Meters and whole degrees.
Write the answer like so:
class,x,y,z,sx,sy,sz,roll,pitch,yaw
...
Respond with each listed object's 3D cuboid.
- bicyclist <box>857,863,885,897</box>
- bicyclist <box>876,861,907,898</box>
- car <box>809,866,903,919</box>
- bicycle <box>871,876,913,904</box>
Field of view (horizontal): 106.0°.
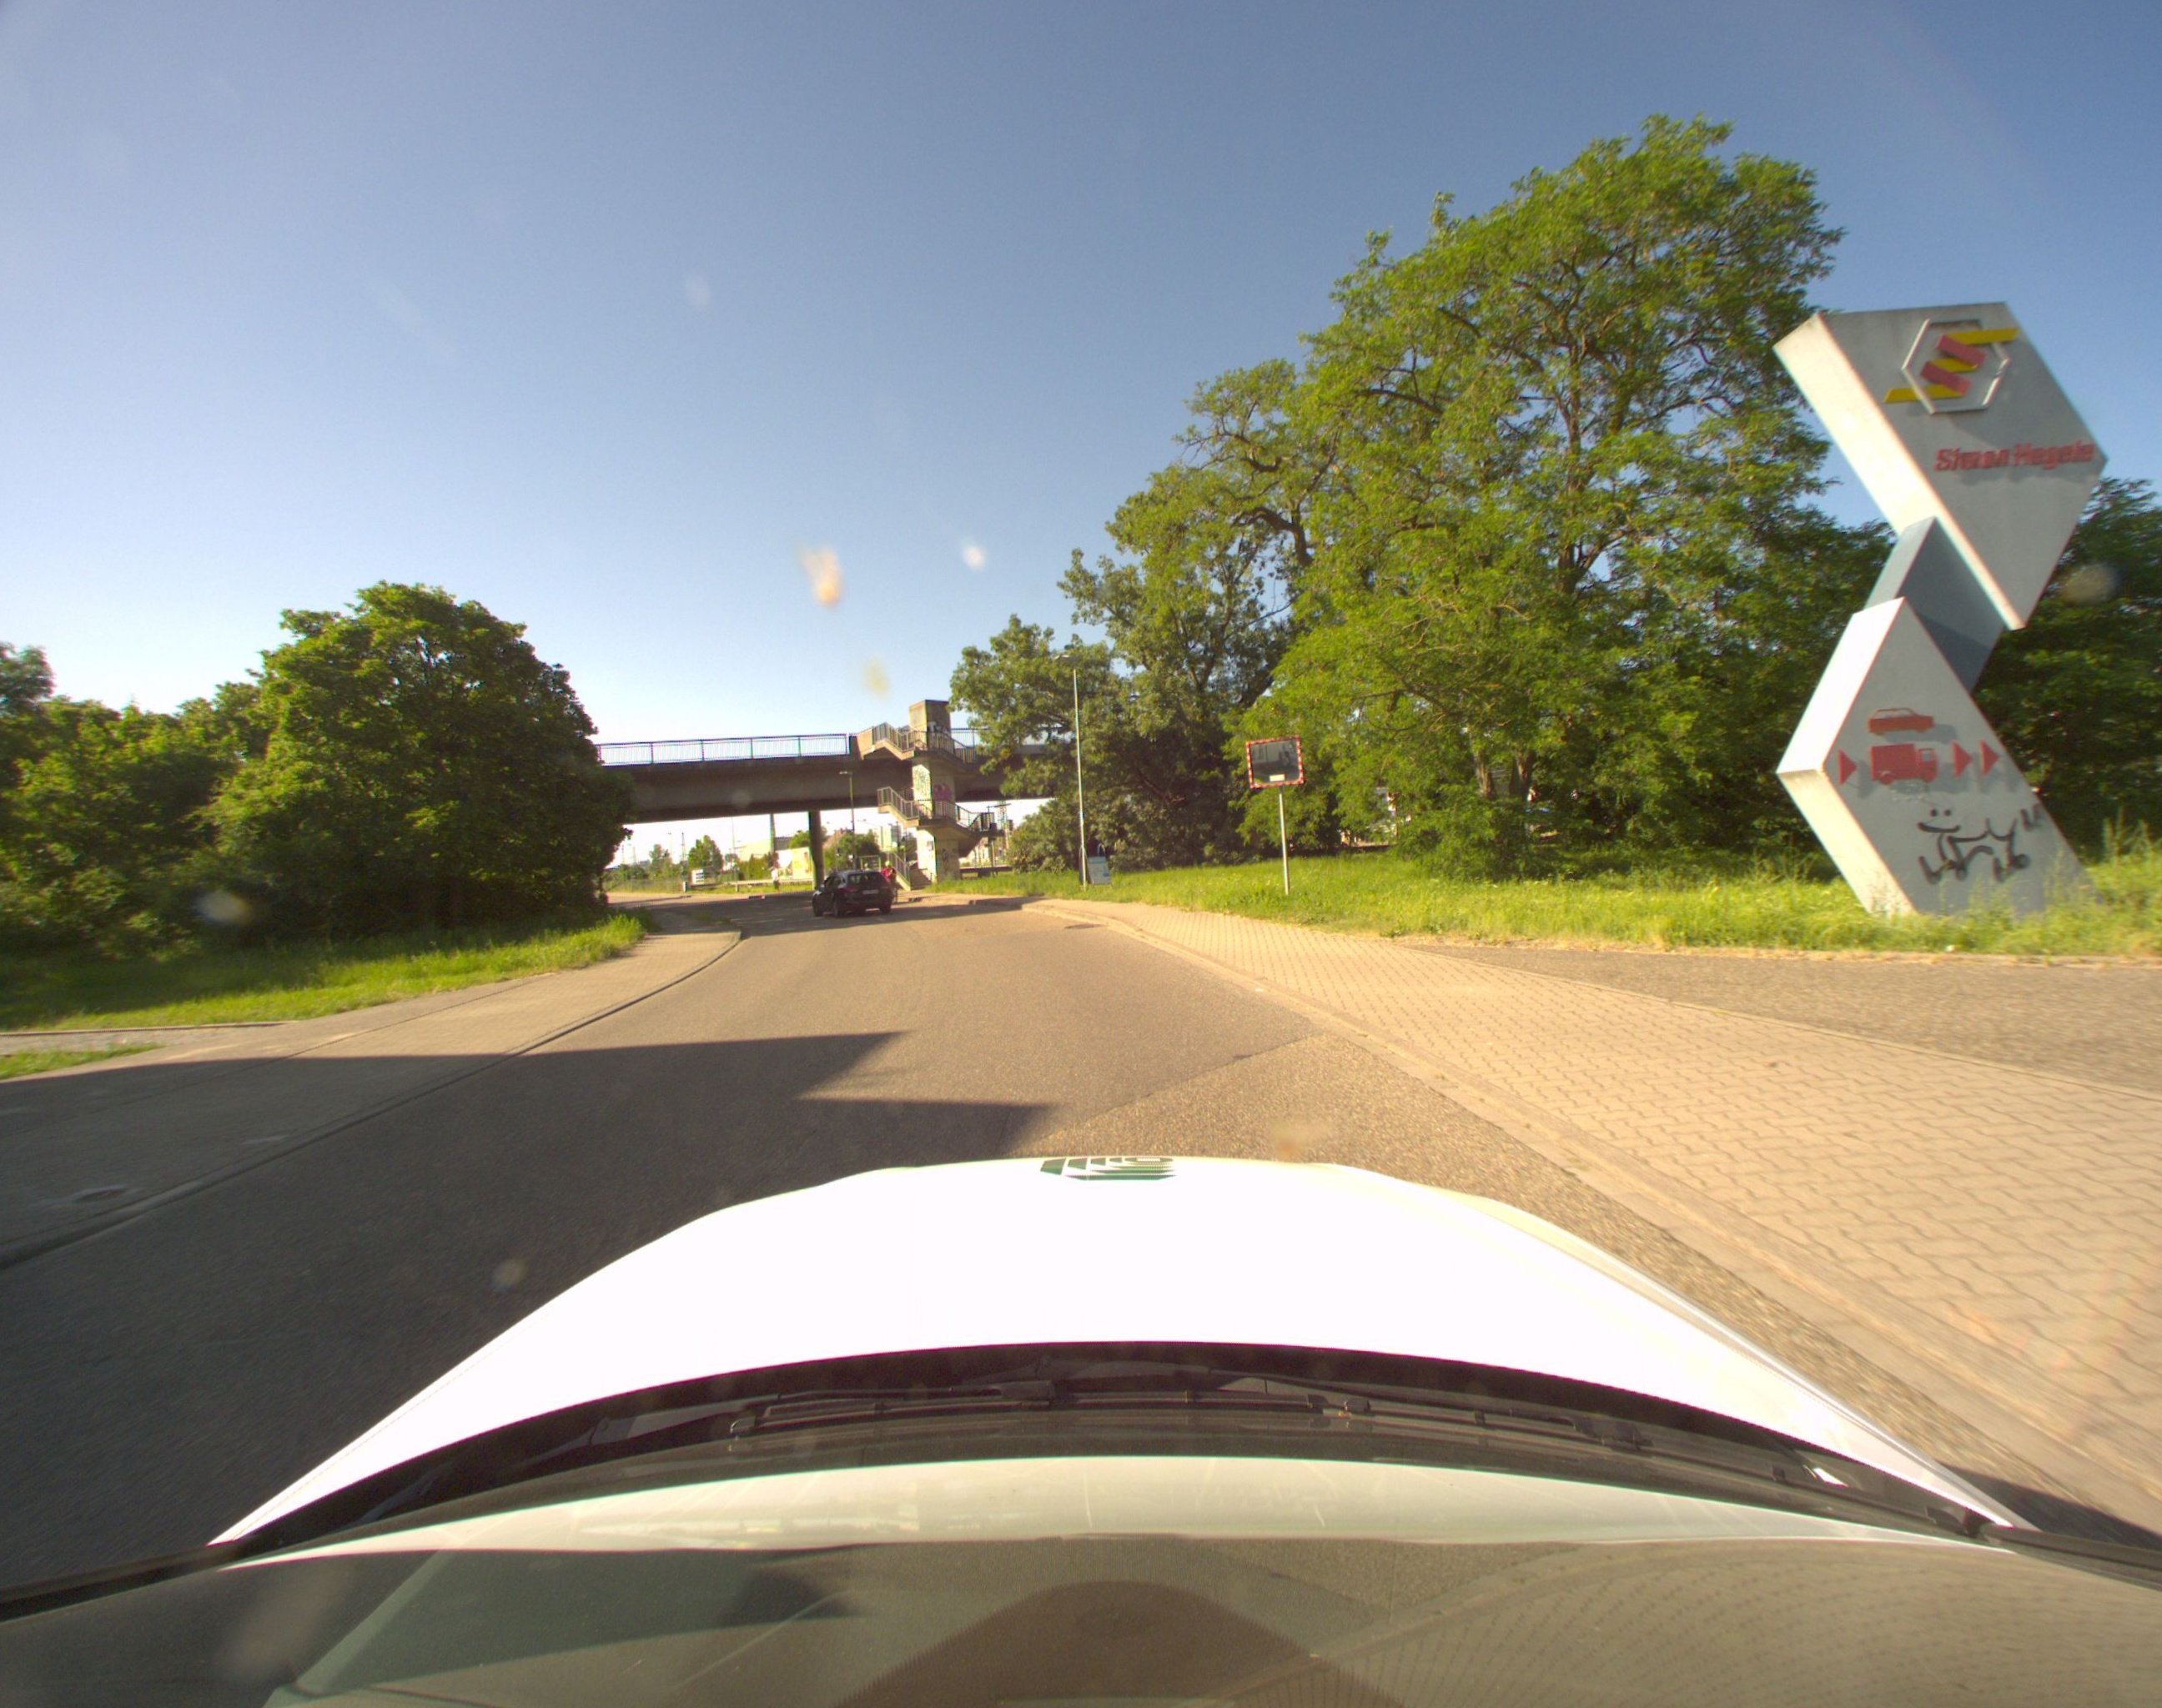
class,x,y,z,sx,sy,sz,roll,pitch,yaw
bicyclist,-9.505,1.182,36.812,0.848,1.488,0.913,-4,0,-39
bicyclist,-7.883,1.061,33.832,0.847,1.488,0.913,-4,0,-37
car,-7.628,1.259,27.298,1.954,1.488,4.521,-4,0,-29
bicycle,-7.867,1.491,33.847,0.847,1.051,2.165,-4,0,-37
